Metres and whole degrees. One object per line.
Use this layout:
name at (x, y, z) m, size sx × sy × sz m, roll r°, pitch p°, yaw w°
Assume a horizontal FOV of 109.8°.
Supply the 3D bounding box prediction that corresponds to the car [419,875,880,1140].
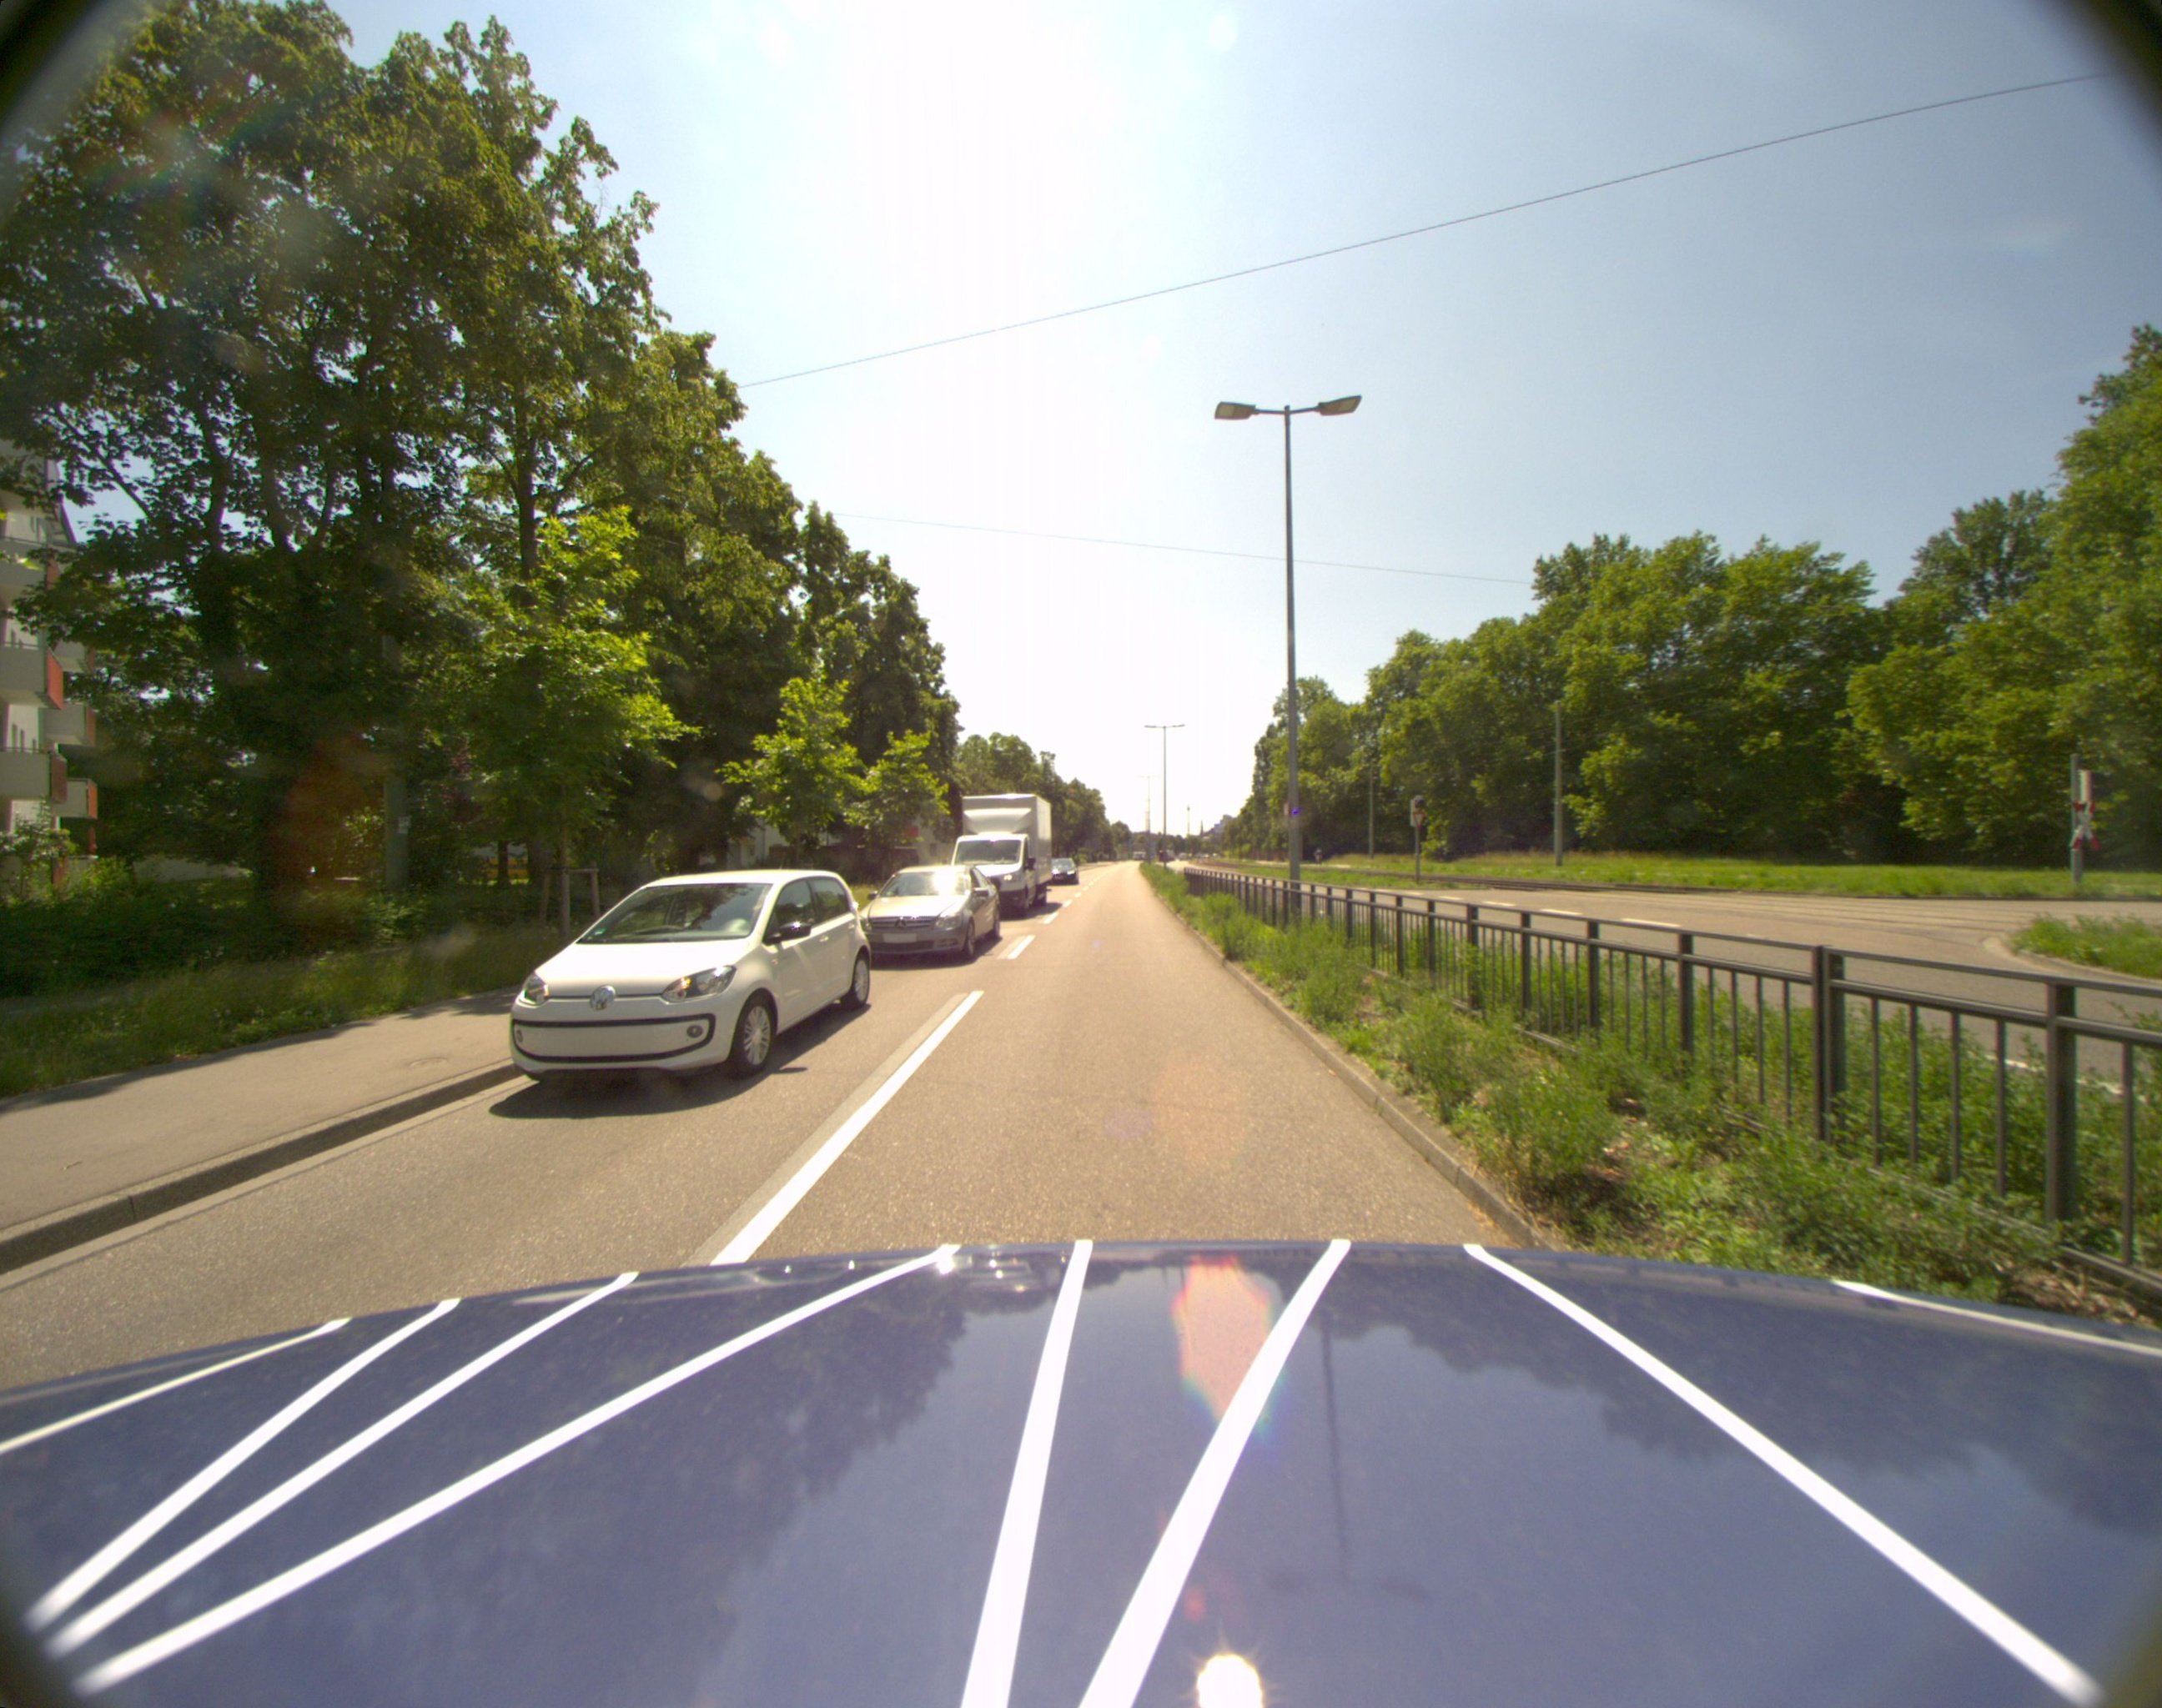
car at (-3.124, 0.991, 6.512) m, size 1.730 × 1.470 × 3.771 m, roll -1°, pitch 0°, yaw 1°

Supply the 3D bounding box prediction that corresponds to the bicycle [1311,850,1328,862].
bicycle at (23.584, 0.195, 75.289) m, size 0.862 × 1.155 × 2.787 m, roll -1°, pitch 0°, yaw 1°

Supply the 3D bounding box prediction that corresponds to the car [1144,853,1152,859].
car at (18.581, 0.526, 211.413) m, size 1.997 × 1.499 × 4.002 m, roll -1°, pitch 0°, yaw 7°

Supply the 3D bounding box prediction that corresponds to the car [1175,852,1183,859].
car at (26.756, 0.319, 207.328) m, size 1.998 × 1.847 × 4.001 m, roll -1°, pitch 0°, yaw 5°

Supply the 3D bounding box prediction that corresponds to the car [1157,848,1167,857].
car at (16.432, -0.302, 153.957) m, size 1.997 × 1.847 × 4.002 m, roll -1°, pitch 0°, yaw 7°

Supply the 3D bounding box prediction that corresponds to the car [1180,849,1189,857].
car at (27.316, -0.269, 200.579) m, size 1.998 × 1.847 × 4.001 m, roll -1°, pitch 0°, yaw 5°

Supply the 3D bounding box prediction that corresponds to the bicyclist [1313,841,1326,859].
bicyclist at (23.599, -0.376, 75.226) m, size 0.862 × 1.796 × 1.118 m, roll -1°, pitch 1°, yaw 1°

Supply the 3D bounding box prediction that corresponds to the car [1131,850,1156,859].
car at (18.621, 0.192, 226.169) m, size 6.644 × 2.381 × 3.196 m, roll -1°, pitch 0°, yaw -14°

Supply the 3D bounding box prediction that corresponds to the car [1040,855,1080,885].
car at (-1.123, 0.853, 42.211) m, size 1.998 × 1.499 × 4.000 m, roll -1°, pitch 0°, yaw 1°

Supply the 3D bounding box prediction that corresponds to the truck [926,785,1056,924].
truck at (-2.296, -0.004, 22.271) m, size 2.433 × 3.326 × 7.923 m, roll -1°, pitch 0°, yaw 3°

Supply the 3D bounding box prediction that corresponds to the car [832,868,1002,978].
car at (-2.472, 0.989, 12.533) m, size 1.840 × 1.400 × 4.087 m, roll -1°, pitch 0°, yaw 1°
